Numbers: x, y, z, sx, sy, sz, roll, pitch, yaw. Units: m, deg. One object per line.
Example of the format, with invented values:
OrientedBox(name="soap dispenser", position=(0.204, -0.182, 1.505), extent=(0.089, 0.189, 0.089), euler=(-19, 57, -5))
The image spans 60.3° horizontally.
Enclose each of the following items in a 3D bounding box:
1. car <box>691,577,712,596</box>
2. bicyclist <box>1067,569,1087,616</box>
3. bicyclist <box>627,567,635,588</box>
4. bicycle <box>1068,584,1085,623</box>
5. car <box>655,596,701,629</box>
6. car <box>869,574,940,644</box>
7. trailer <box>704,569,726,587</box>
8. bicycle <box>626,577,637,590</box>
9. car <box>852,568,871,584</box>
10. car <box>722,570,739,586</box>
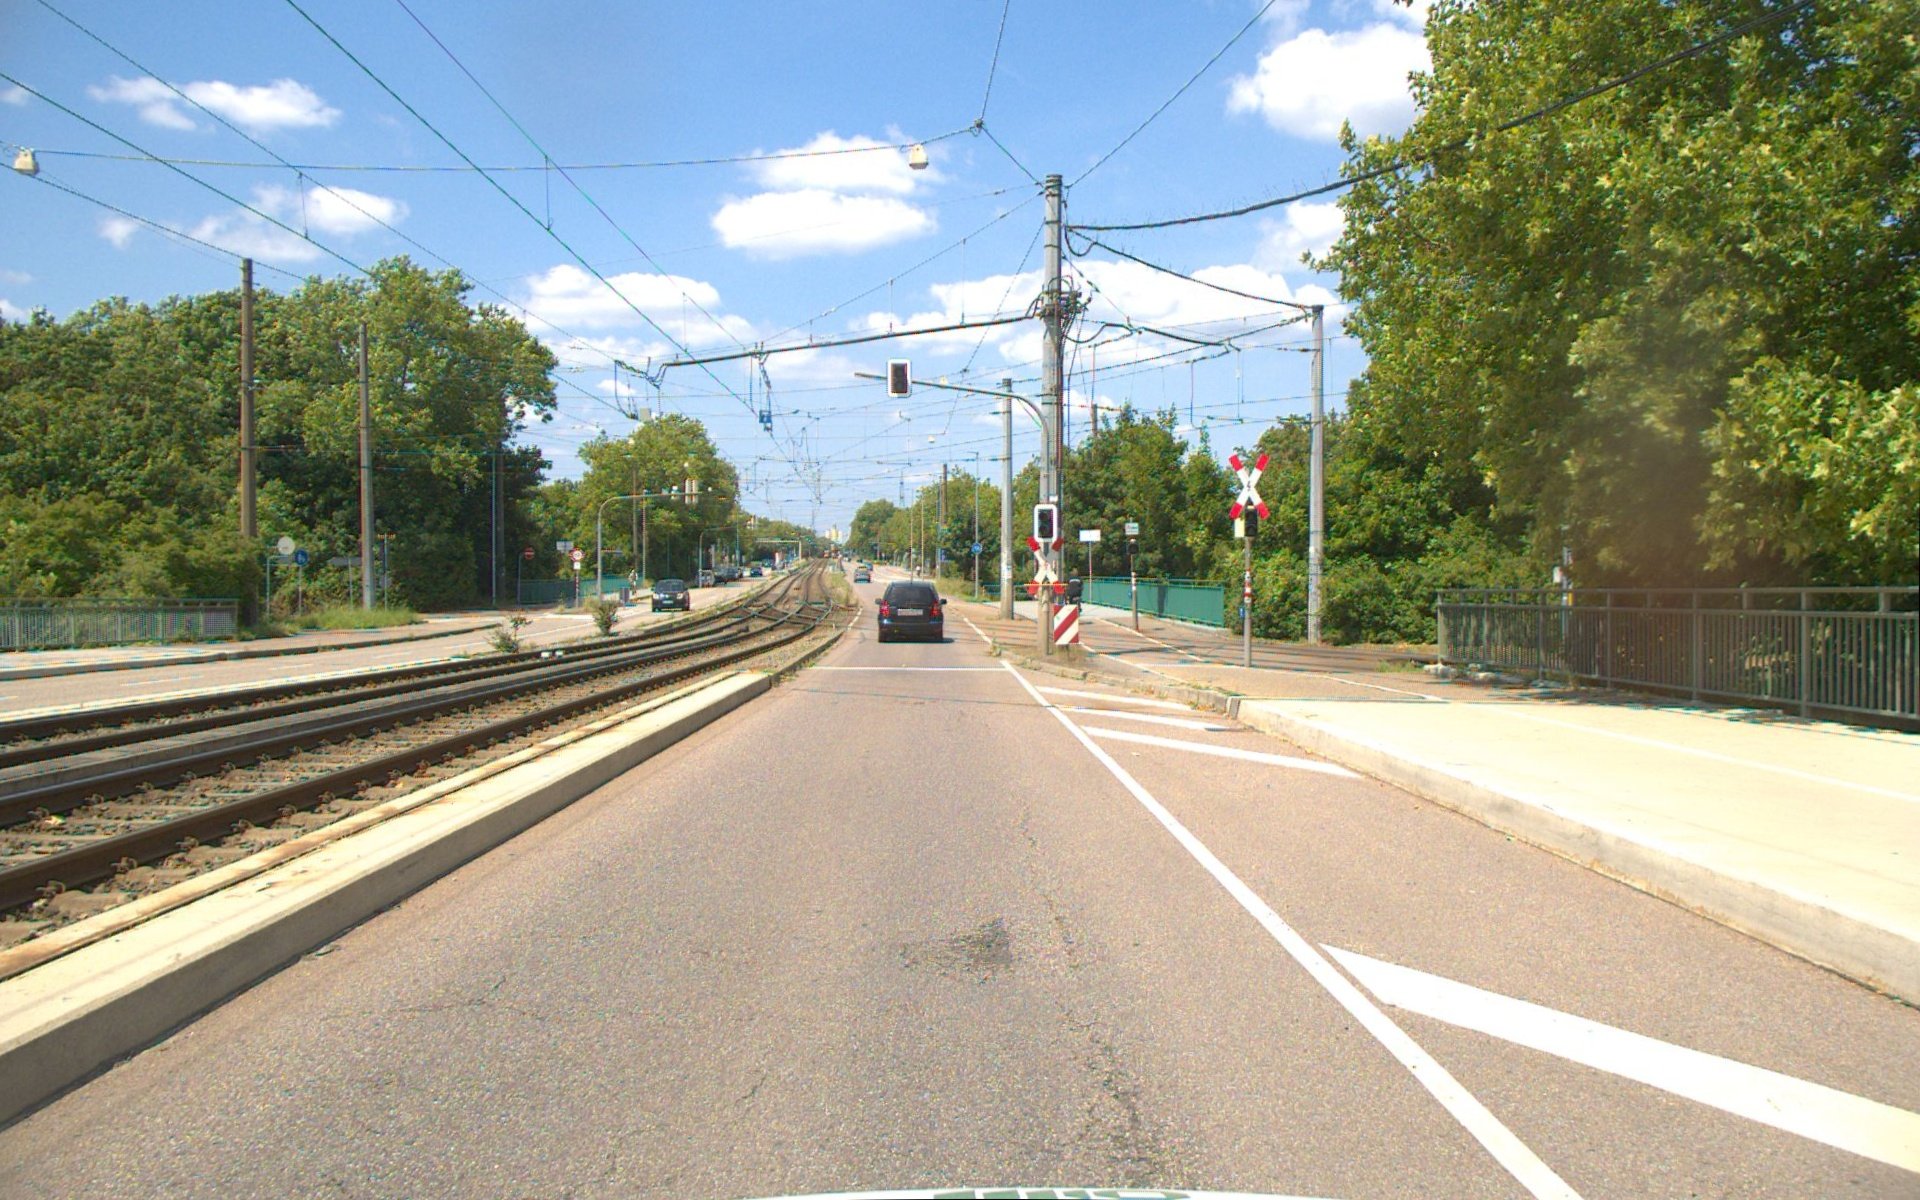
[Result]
OrientedBox(name="car", position=(-26.062, -1.351, 166.895), extent=(1.687, 1.658, 4.612), euler=(-3, 3, -6))
OrientedBox(name="bicyclist", position=(3.848, -0.244, 54.518), extent=(0.573, 1.520, 0.558), euler=(1, 2, 0))
OrientedBox(name="bicyclist", position=(-23.092, -1.582, 116.240), extent=(0.447, 1.499, 0.633), euler=(0, 1, -2))
OrientedBox(name="bicycle", position=(3.845, 0.110, 54.567), extent=(0.423, 1.172, 1.855), euler=(1, 2, 0))
OrientedBox(name="car", position=(-13.969, 0.589, 82.064), extent=(1.670, 1.536, 3.733), euler=(-1, 1, 0))
OrientedBox(name="car", position=(-1.474, 0.190, 44.747), extent=(1.815, 1.597, 4.388), euler=(1, 3, -1))
OrientedBox(name="trailer", position=(-27.033, -2.487, 182.445), extent=(2.416, 1.921, 5.950), euler=(0, 1, -9))
OrientedBox(name="bicycle", position=(-23.088, -1.170, 116.218), extent=(0.459, 0.883, 1.742), euler=(0, 1, -2))
OrientedBox(name="car", position=(-11.081, -2.716, 186.514), extent=(1.846, 1.668, 4.000), euler=(3, 2, -1))
OrientedBox(name="car", position=(-29.933, -2.836, 215.868), extent=(1.954, 2.049, 3.997), euler=(0, 0, -4))
